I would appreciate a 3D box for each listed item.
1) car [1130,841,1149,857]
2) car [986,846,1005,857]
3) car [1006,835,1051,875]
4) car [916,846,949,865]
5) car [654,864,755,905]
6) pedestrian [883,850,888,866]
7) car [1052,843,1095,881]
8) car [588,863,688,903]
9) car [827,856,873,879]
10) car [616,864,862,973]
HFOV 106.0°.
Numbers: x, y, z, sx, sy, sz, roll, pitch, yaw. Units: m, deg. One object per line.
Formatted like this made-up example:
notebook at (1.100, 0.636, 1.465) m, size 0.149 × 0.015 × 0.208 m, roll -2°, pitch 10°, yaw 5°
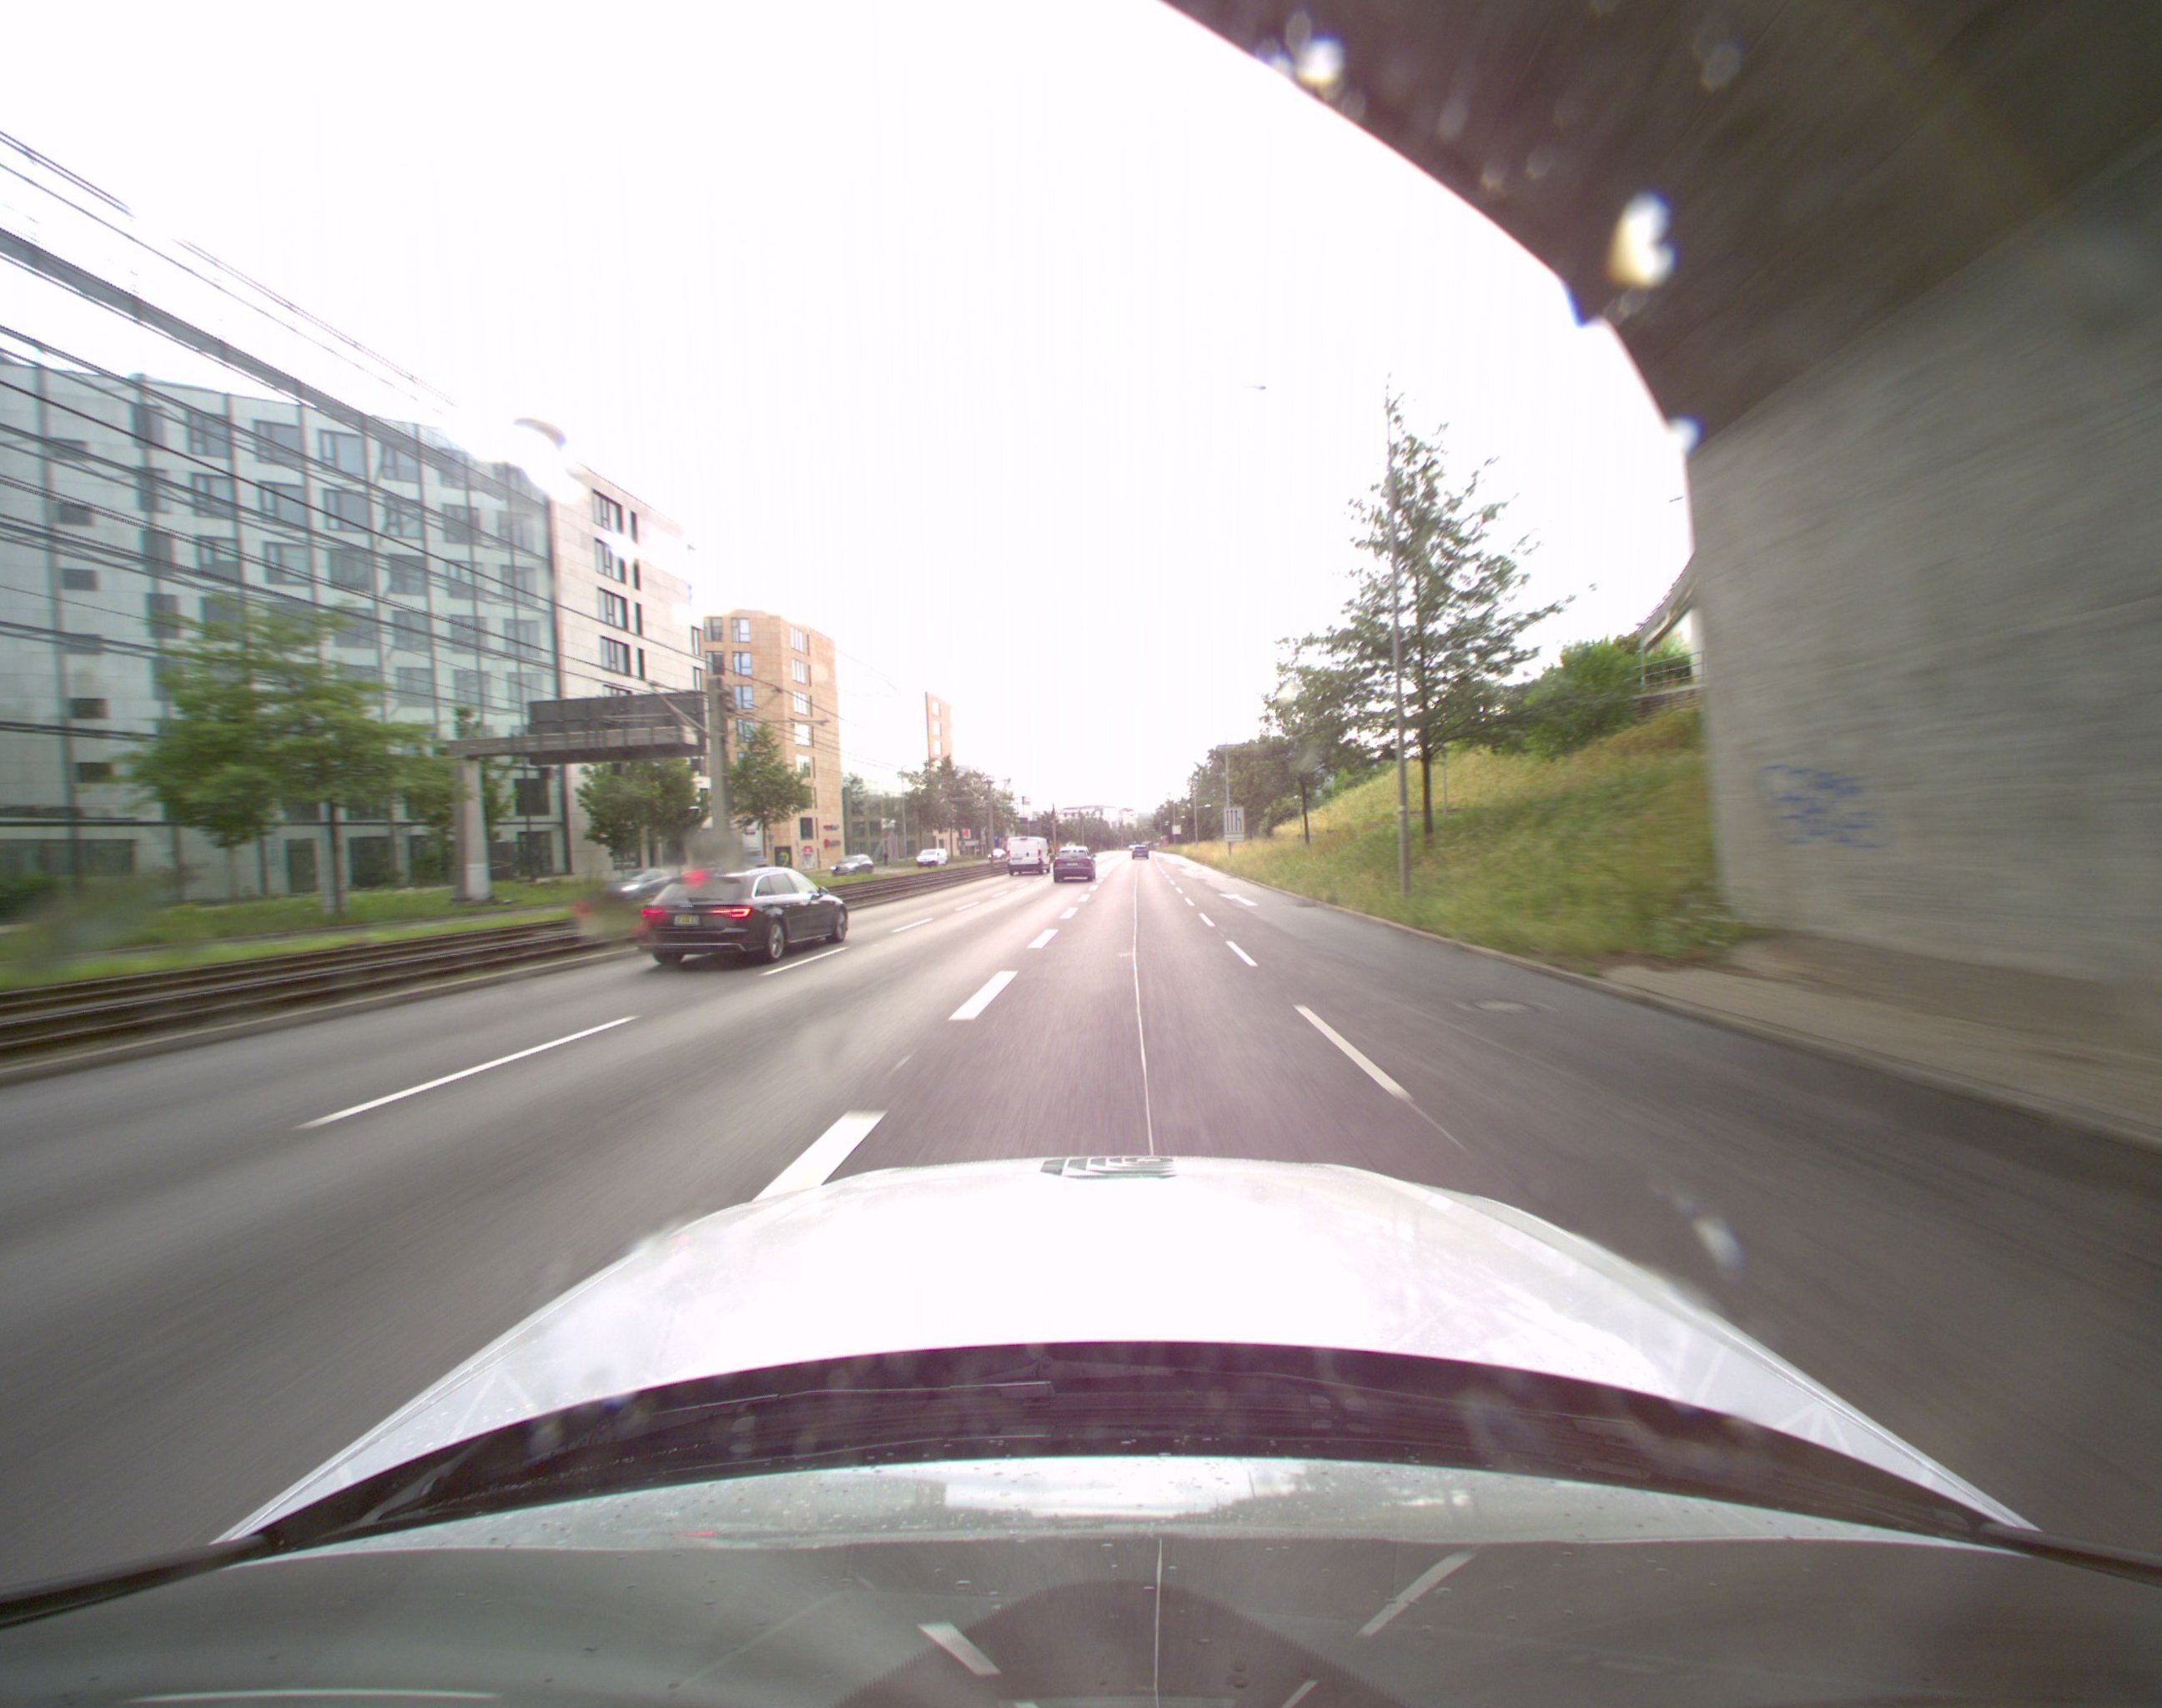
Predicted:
car at (6.183, -0.508, 86.177) m, size 1.782 × 1.591 × 4.001 m, roll -3°, pitch 0°, yaw 2°
car at (-11.908, -0.371, 114.059) m, size 1.751 × 1.533 × 4.823 m, roll -1°, pitch 1°, yaw 4°
car at (-3.145, 0.006, 49.623) m, size 2.259 × 2.284 × 4.762 m, roll -1°, pitch 1°, yaw 2°
car at (-14.791, 0.119, 81.314) m, size 1.928 × 1.761 × 5.069 m, roll -1°, pitch 1°, yaw 5°
car at (-16.385, 1.261, 35.747) m, size 1.801 × 1.533 × 4.876 m, roll -1°, pitch 1°, yaw 5°
pedestrian at (-23.558, 0.476, 98.039) m, size 0.422 × 1.827 × 0.477 m, roll -1°, pitch -1°, yaw 1°
car at (-0.307, 0.394, 39.596) m, size 1.915 × 1.711 × 4.099 m, roll -1°, pitch -1°, yaw 2°
car at (-19.454, 1.248, 35.985) m, size 1.801 × 1.533 × 4.281 m, roll -1°, pitch 1°, yaw 5°
car at (-17.260, 0.981, 61.167) m, size 1.801 × 1.606 × 4.497 m, roll -1°, pitch 1°, yaw 5°
car at (-5.305, 0.911, 13.482) m, size 1.778 × 1.414 × 4.810 m, roll -1°, pitch 0°, yaw 3°
